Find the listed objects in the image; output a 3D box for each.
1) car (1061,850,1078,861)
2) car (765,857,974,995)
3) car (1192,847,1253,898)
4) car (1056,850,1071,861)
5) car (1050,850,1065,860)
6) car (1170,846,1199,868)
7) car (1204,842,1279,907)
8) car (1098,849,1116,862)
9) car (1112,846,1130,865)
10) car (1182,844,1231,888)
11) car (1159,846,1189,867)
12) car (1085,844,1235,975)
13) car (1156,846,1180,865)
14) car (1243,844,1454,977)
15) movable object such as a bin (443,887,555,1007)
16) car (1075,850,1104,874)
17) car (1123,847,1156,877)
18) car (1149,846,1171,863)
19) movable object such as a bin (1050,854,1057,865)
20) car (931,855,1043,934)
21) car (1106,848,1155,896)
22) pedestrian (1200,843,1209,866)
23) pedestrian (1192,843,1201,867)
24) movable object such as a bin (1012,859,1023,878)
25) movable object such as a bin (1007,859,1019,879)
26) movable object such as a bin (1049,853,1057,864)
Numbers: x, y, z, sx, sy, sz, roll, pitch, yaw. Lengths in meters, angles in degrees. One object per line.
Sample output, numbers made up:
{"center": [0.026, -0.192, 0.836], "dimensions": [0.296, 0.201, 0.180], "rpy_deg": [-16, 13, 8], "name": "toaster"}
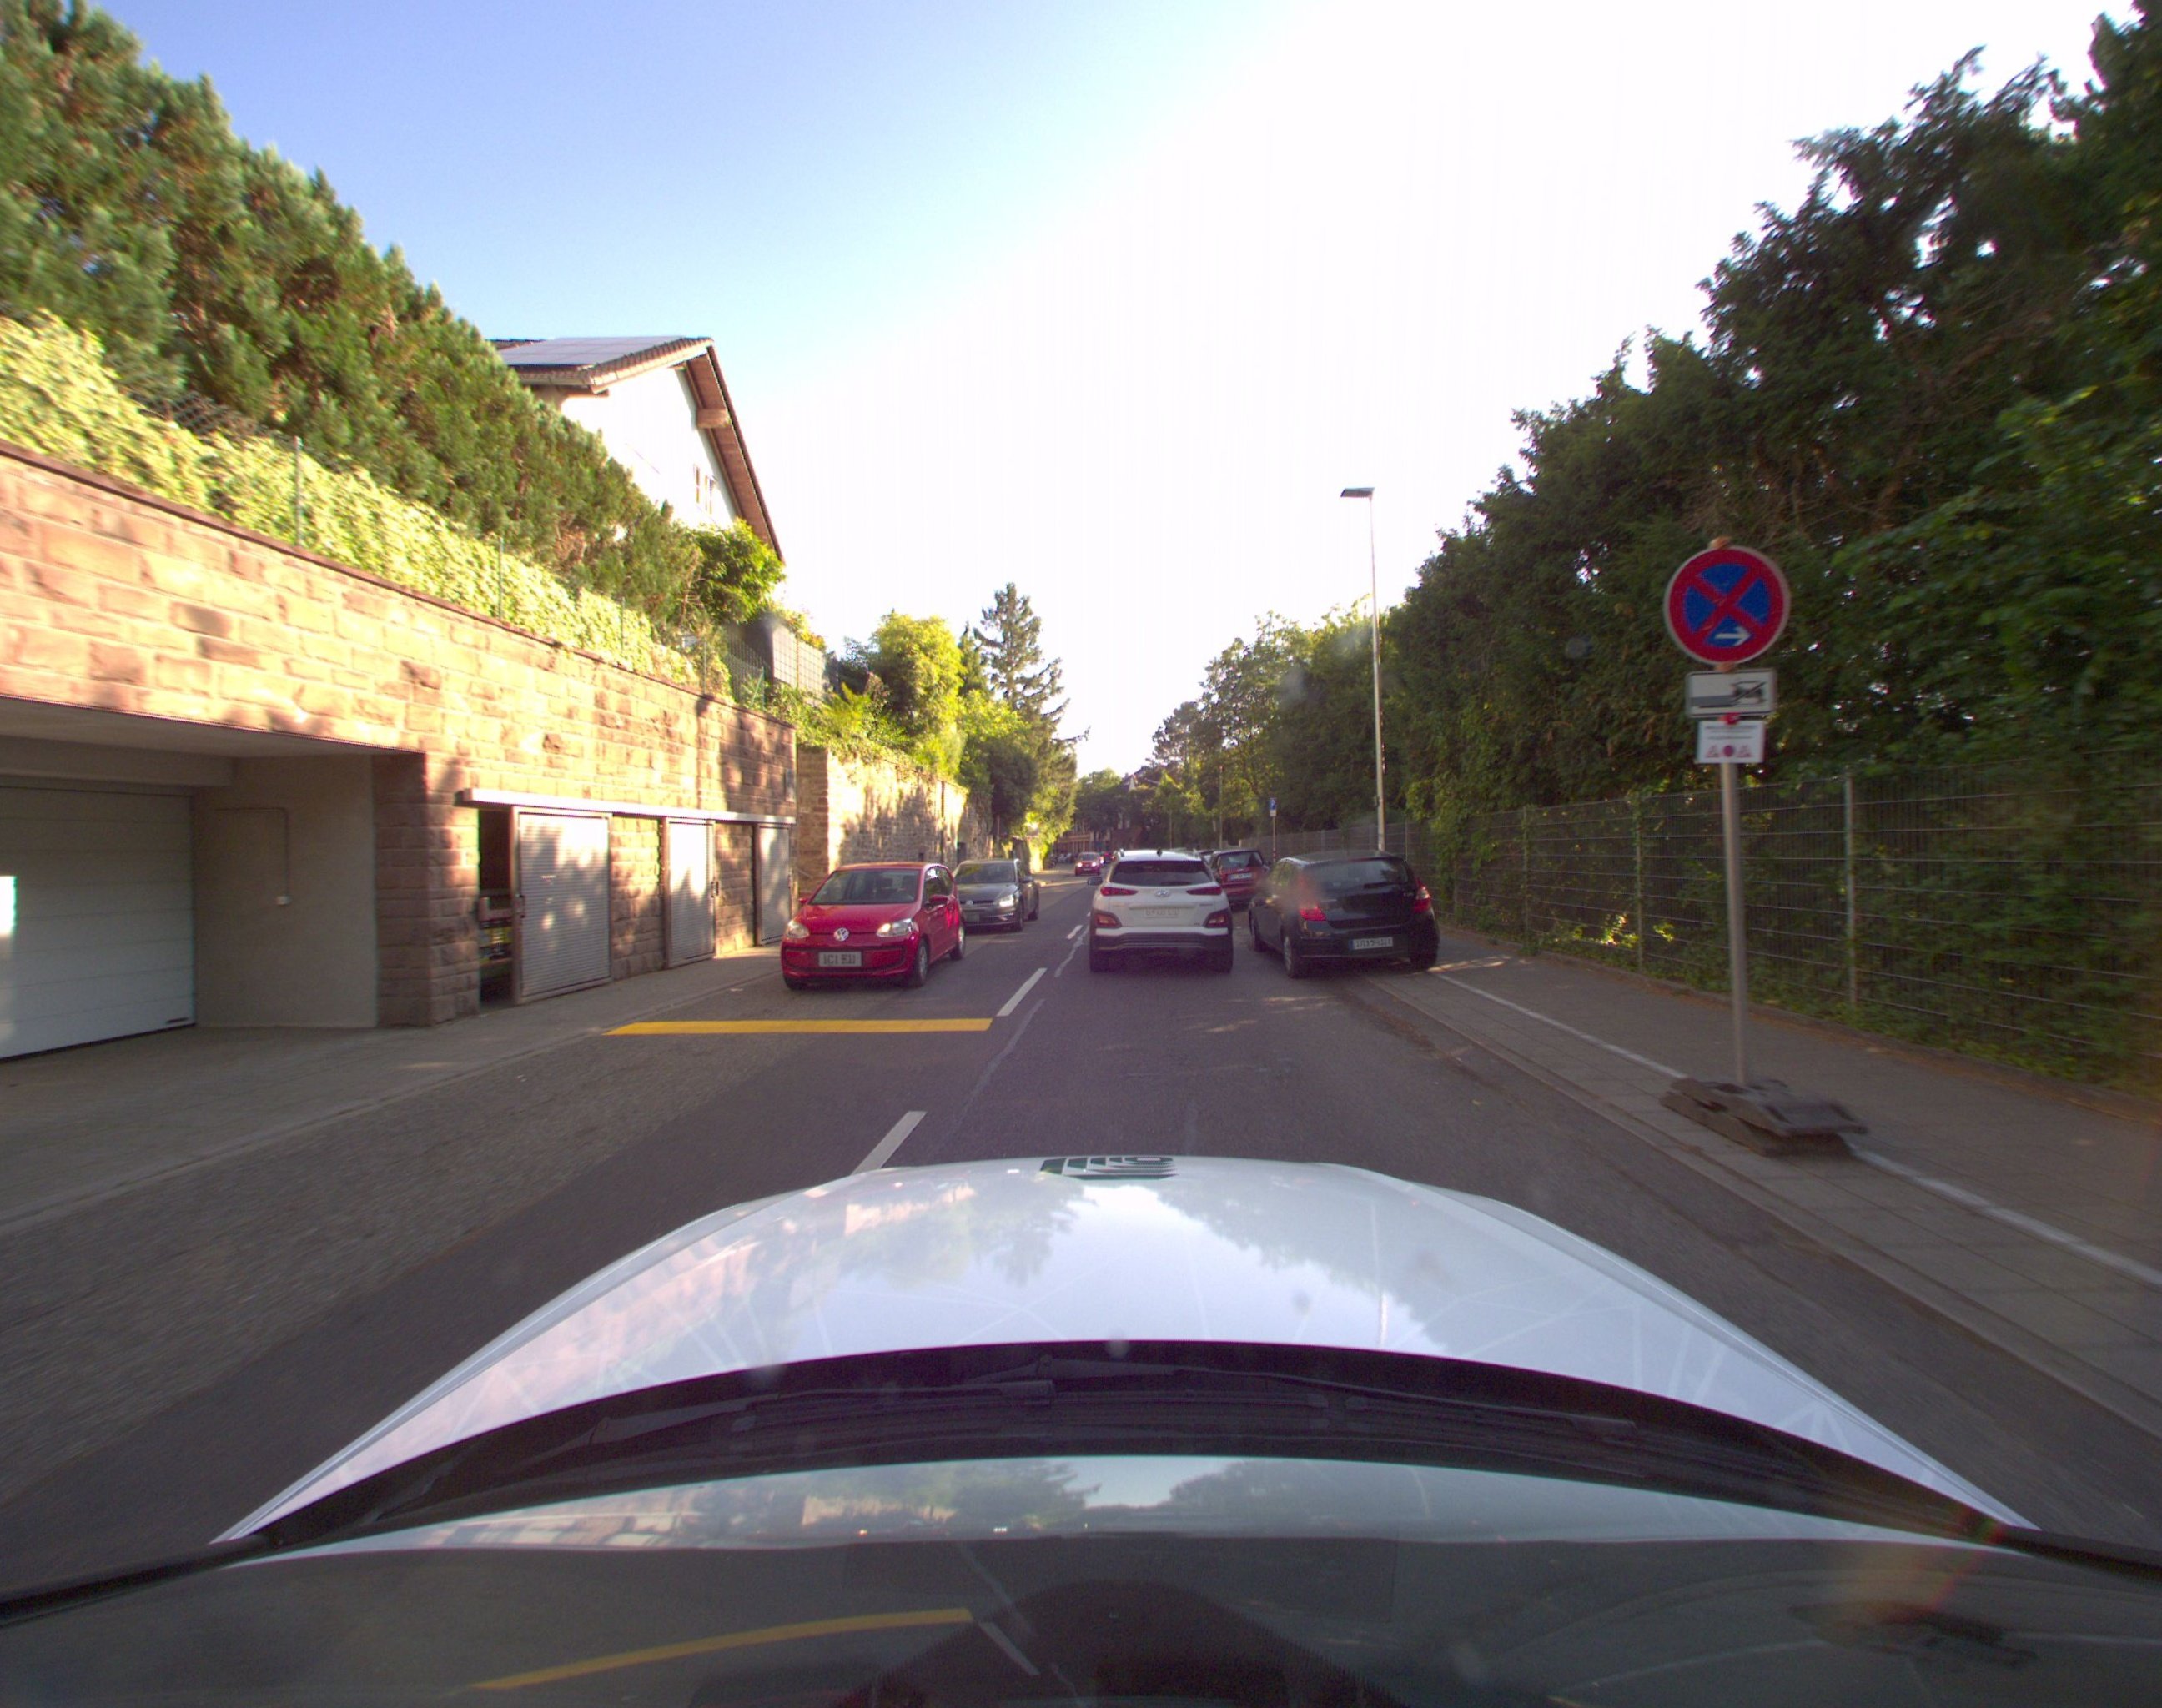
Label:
{"center": [-1.808, 0.198, 126.650], "dimensions": [1.757, 1.616, 3.983], "rpy_deg": [0, 1, -13], "name": "car"}
{"center": [-2.553, 0.793, 10.683], "dimensions": [1.620, 1.422, 3.565], "rpy_deg": [-2, 0, 2], "name": "car"}
{"center": [4.549, 0.533, 26.723], "dimensions": [1.702, 1.497, 4.823], "rpy_deg": [1, 0, 6], "name": "car"}
{"center": [-2.877, 0.214, 131.491], "dimensions": [1.757, 1.616, 3.983], "rpy_deg": [0, 1, -13], "name": "car"}
{"center": [-3.901, 0.232, 136.567], "dimensions": [1.757, 1.616, 3.983], "rpy_deg": [0, 1, -13], "name": "car"}
{"center": [7.598, 0.196, 59.941], "dimensions": [1.680, 1.431, 4.002], "rpy_deg": [-3, 0, 2], "name": "car"}
{"center": [4.109, 0.498, 21.202], "dimensions": [1.644, 1.564, 2.878], "rpy_deg": [-1, 0, 6], "name": "car"}
{"center": [2.909, 0.142, 92.005], "dimensions": [1.587, 1.386, 3.356], "rpy_deg": [-2, 0, -4], "name": "car"}
{"center": [3.593, 0.126, 74.050], "dimensions": [1.583, 1.582, 3.362], "rpy_deg": [-2, 0, 2], "name": "car"}
{"center": [4.783, 0.419, 31.267], "dimensions": [1.616, 1.509, 2.909], "rpy_deg": [-4, 1, 6], "name": "car"}
{"center": [7.435, 0.194, 65.280], "dimensions": [1.590, 1.565, 3.994], "rpy_deg": [-3, 0, -4], "name": "car"}
{"center": [1.189, 0.653, 11.692], "dimensions": [1.762, 1.542, 4.008], "rpy_deg": [-1, 0, 7], "name": "car"}
{"center": [7.469, 0.126, 70.317], "dimensions": [1.588, 1.519, 3.932], "rpy_deg": [-4, 0, 0], "name": "car"}
{"center": [3.392, 0.618, 11.135], "dimensions": [1.786, 1.440, 4.005], "rpy_deg": [-2, 0, 4], "name": "car"}
{"center": [-6.185, 0.968, 8.682], "dimensions": [0.655, 1.175, 0.666], "rpy_deg": [-2, 0, 4], "name": "movable object such as a bin"}
{"center": [0.582, 0.503, 53.759], "dimensions": [1.543, 1.466, 3.573], "rpy_deg": [-3, 0, 5], "name": "car"}
{"center": [3.051, 0.373, 42.001], "dimensions": [1.562, 1.477, 3.554], "rpy_deg": [0, 0, 7], "name": "car"}
{"center": [7.386, 0.053, 76.282], "dimensions": [1.588, 1.489, 3.601], "rpy_deg": [-4, 0, 0], "name": "car"}
{"center": [-2.635, 0.553, 78.256], "dimensions": [0.493, 1.011, 1.114], "rpy_deg": [0, 0, 4], "name": "movable object such as a bin"}
{"center": [-1.873, 0.769, 17.326], "dimensions": [1.642, 1.411, 3.934], "rpy_deg": [-2, 0, 4], "name": "car"}
{"center": [1.789, 0.596, 28.735], "dimensions": [1.504, 1.533, 3.554], "rpy_deg": [-2, 1, 6], "name": "car"}
{"center": [8.518, 0.032, 56.016], "dimensions": [0.501, 1.569, 0.504], "rpy_deg": [-4, 0, 4], "name": "pedestrian"}
{"center": [7.964, 0.072, 56.075], "dimensions": [0.501, 1.606, 0.492], "rpy_deg": [-4, 0, 4], "name": "pedestrian"}
{"center": [-3.289, 0.757, 41.949], "dimensions": [0.488, 0.964, 0.583], "rpy_deg": [0, 0, 2], "name": "movable object such as a bin"}
{"center": [-3.409, 0.760, 40.887], "dimensions": [0.571, 0.985, 0.439], "rpy_deg": [0, 0, 2], "name": "movable object such as a bin"}
{"center": [-3.032, 0.515, 88.362], "dimensions": [0.788, 1.189, 0.773], "rpy_deg": [0, 0, 3], "name": "movable object such as a bin"}
